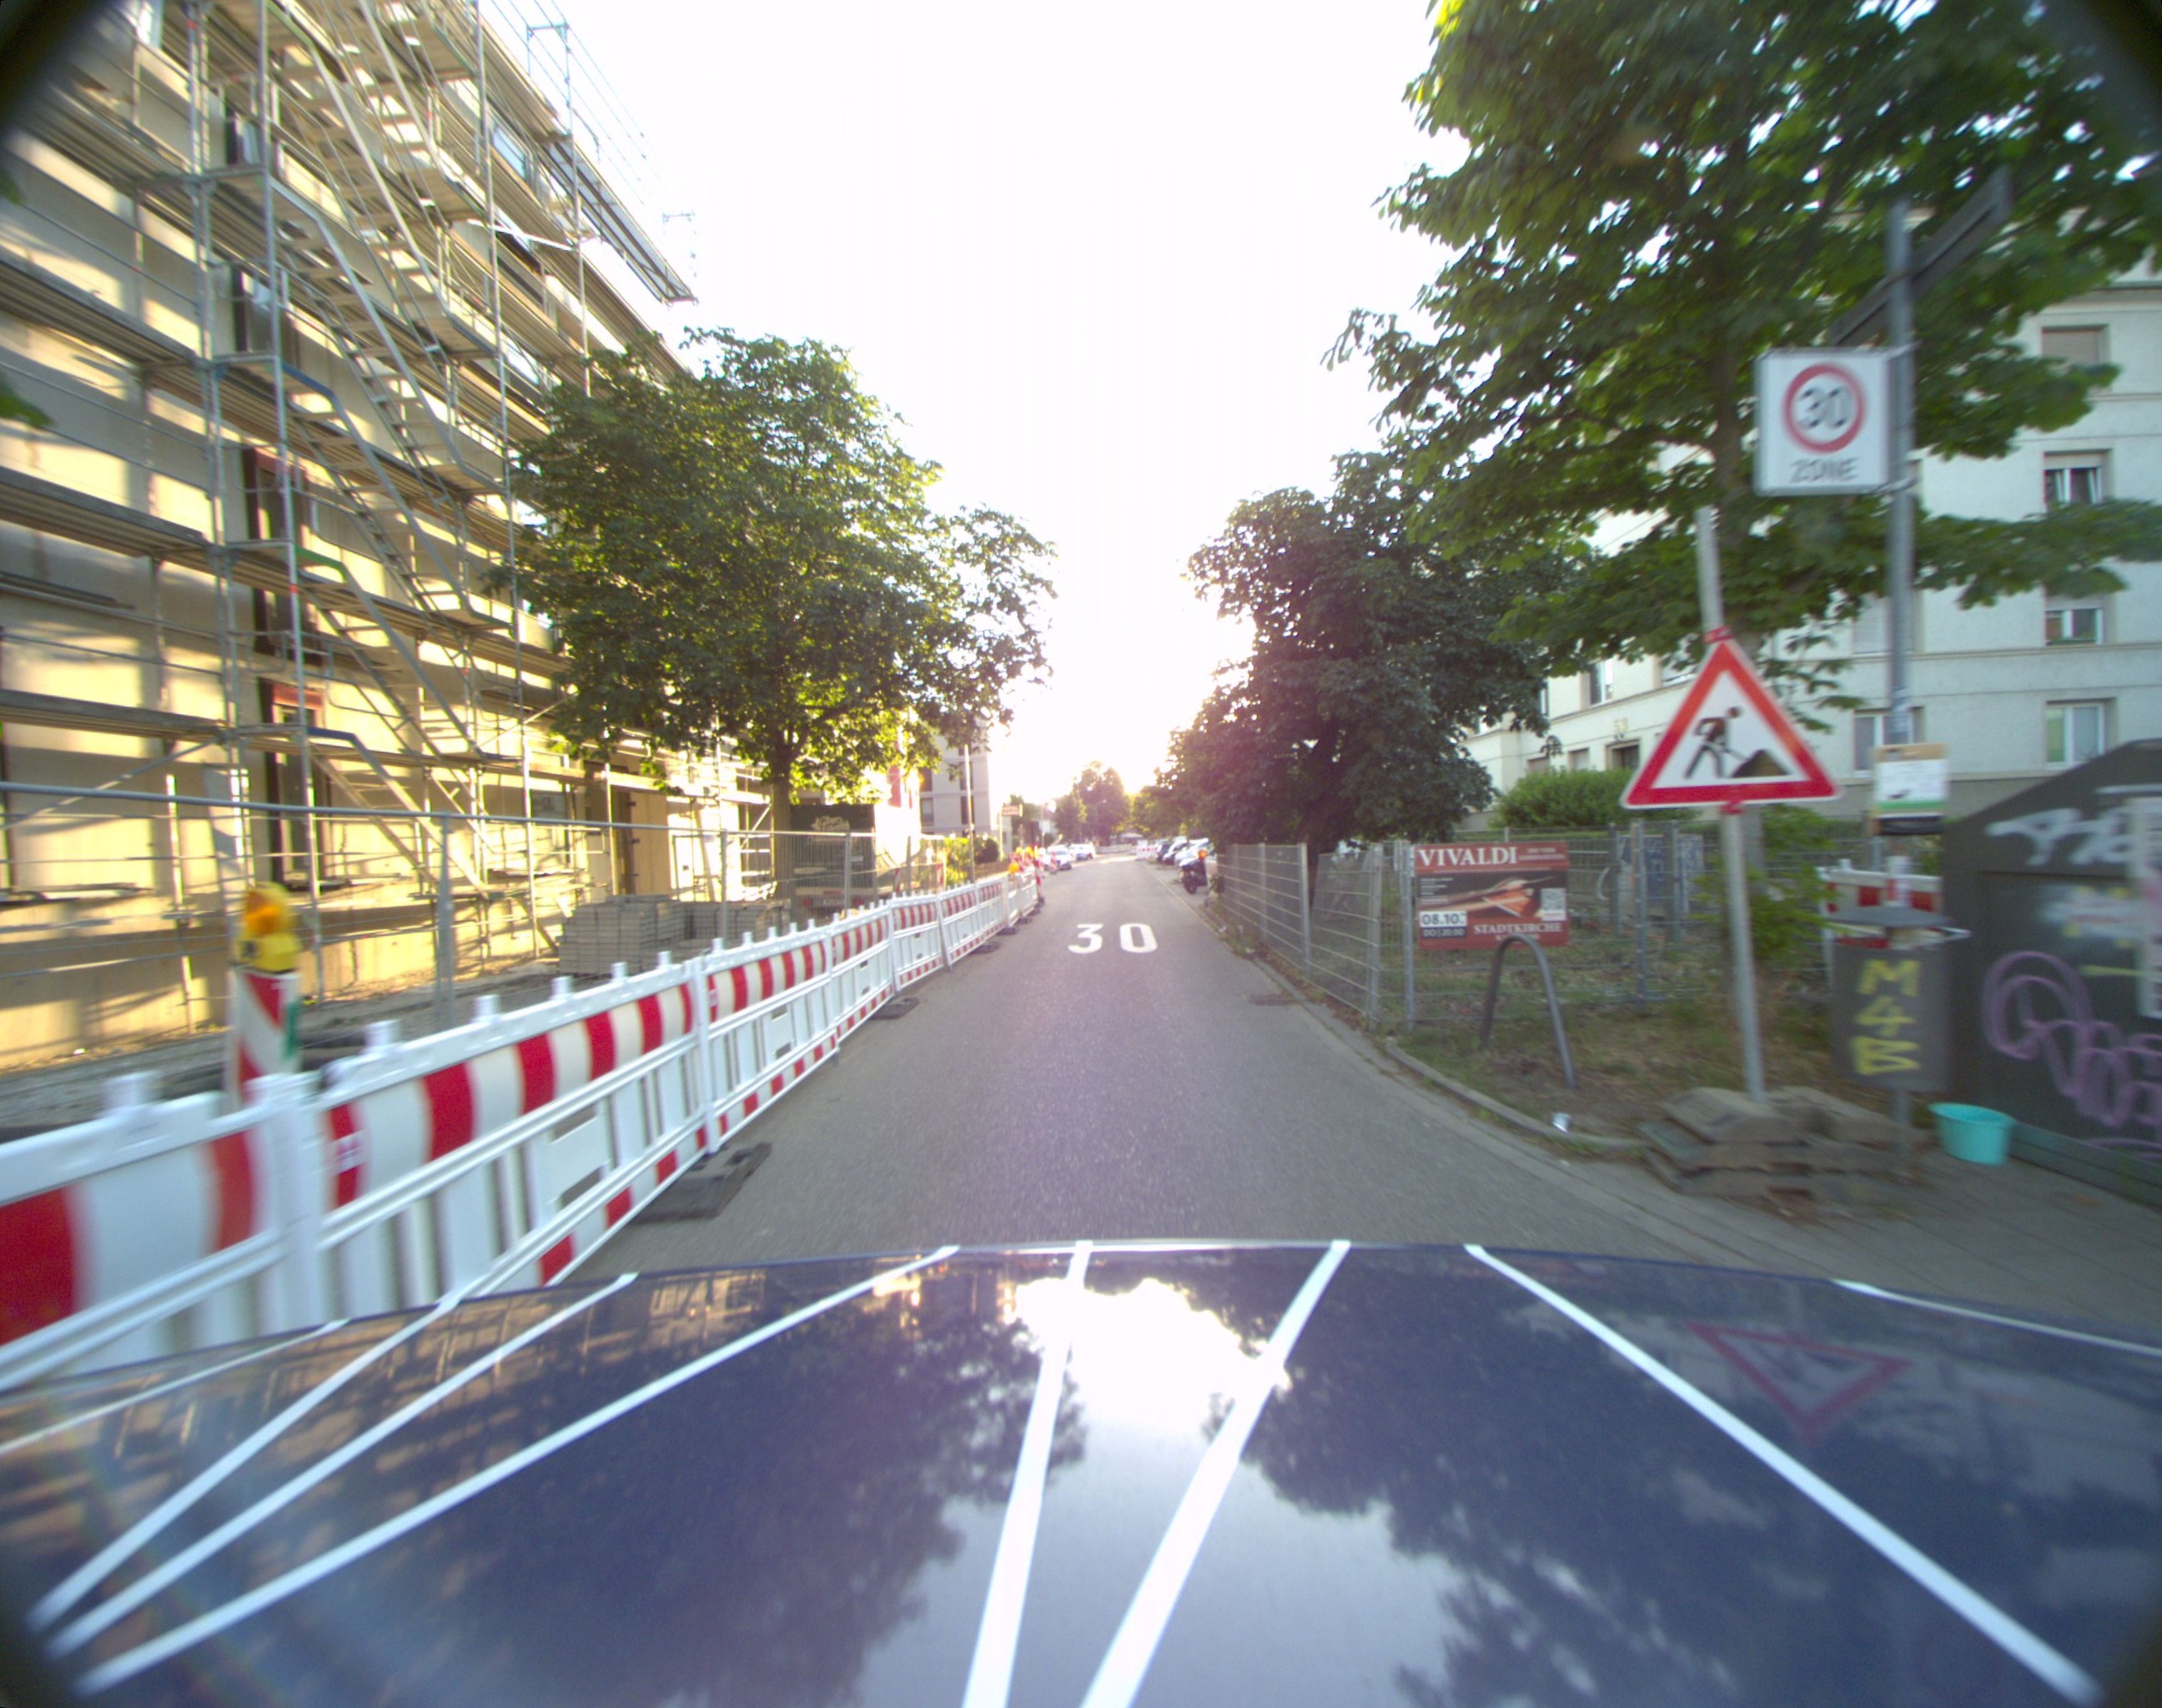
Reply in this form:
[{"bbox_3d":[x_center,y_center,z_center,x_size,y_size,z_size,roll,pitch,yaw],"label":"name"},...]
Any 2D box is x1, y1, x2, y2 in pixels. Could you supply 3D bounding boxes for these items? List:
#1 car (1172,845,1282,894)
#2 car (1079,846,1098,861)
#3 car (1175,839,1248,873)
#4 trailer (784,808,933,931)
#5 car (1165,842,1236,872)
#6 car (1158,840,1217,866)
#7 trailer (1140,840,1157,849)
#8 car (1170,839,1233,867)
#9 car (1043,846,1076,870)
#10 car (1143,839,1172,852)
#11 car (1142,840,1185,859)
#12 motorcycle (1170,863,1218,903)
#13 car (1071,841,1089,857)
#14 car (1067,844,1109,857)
[{"bbox_3d":[5.137,0.528,27.095,3.632,1.548,1.693,-2,1,3],"label":"car"},{"bbox_3d":[0.841,-0.093,83.114,1.744,1.461,3.759,-3,1,4],"label":"car"},{"bbox_3d":[6.991,0.094,40.881,3.484,1.557,1.727,-4,2,-2],"label":"car"},{"bbox_3d":[-5.119,0.316,18.185,1.998,2.525,4.186,-2,1,4],"label":"trailer"},{"bbox_3d":[7.010,0.149,44.817,3.986,1.481,1.728,-4,2,5],"label":"car"},{"bbox_3d":[7.044,-0.055,50.455,3.685,1.437,1.728,-4,2,5],"label":"car"},{"bbox_3d":[16.987,-2.304,191.140,3.682,2.057,2.002,-3,1,17],"label":"trailer"},{"bbox_3d":[7.546,-0.048,47.829,3.685,1.476,1.728,-4,2,5],"label":"car"},{"bbox_3d":[-1.390,0.250,49.538,1.780,1.389,4.107,-3,1,3],"label":"car"},{"bbox_3d":[13.006,-1.430,128.650,4.784,2.058,2.001,-3,1,8],"label":"car"},{"bbox_3d":[7.549,-0.405,69.912,3.709,1.475,1.728,-4,1,1],"label":"car"},{"bbox_3d":[3.532,0.894,23.585,0.538,1.015,2.215,-5,1,32],"label":"motorcycle"},{"bbox_3d":[-0.056,-0.485,72.333,1.618,1.461,3.996,-3,1,1],"label":"car"},{"bbox_3d":[0.877,-0.455,90.966,4.829,1.390,1.770,-1,0,4],"label":"car"}]
